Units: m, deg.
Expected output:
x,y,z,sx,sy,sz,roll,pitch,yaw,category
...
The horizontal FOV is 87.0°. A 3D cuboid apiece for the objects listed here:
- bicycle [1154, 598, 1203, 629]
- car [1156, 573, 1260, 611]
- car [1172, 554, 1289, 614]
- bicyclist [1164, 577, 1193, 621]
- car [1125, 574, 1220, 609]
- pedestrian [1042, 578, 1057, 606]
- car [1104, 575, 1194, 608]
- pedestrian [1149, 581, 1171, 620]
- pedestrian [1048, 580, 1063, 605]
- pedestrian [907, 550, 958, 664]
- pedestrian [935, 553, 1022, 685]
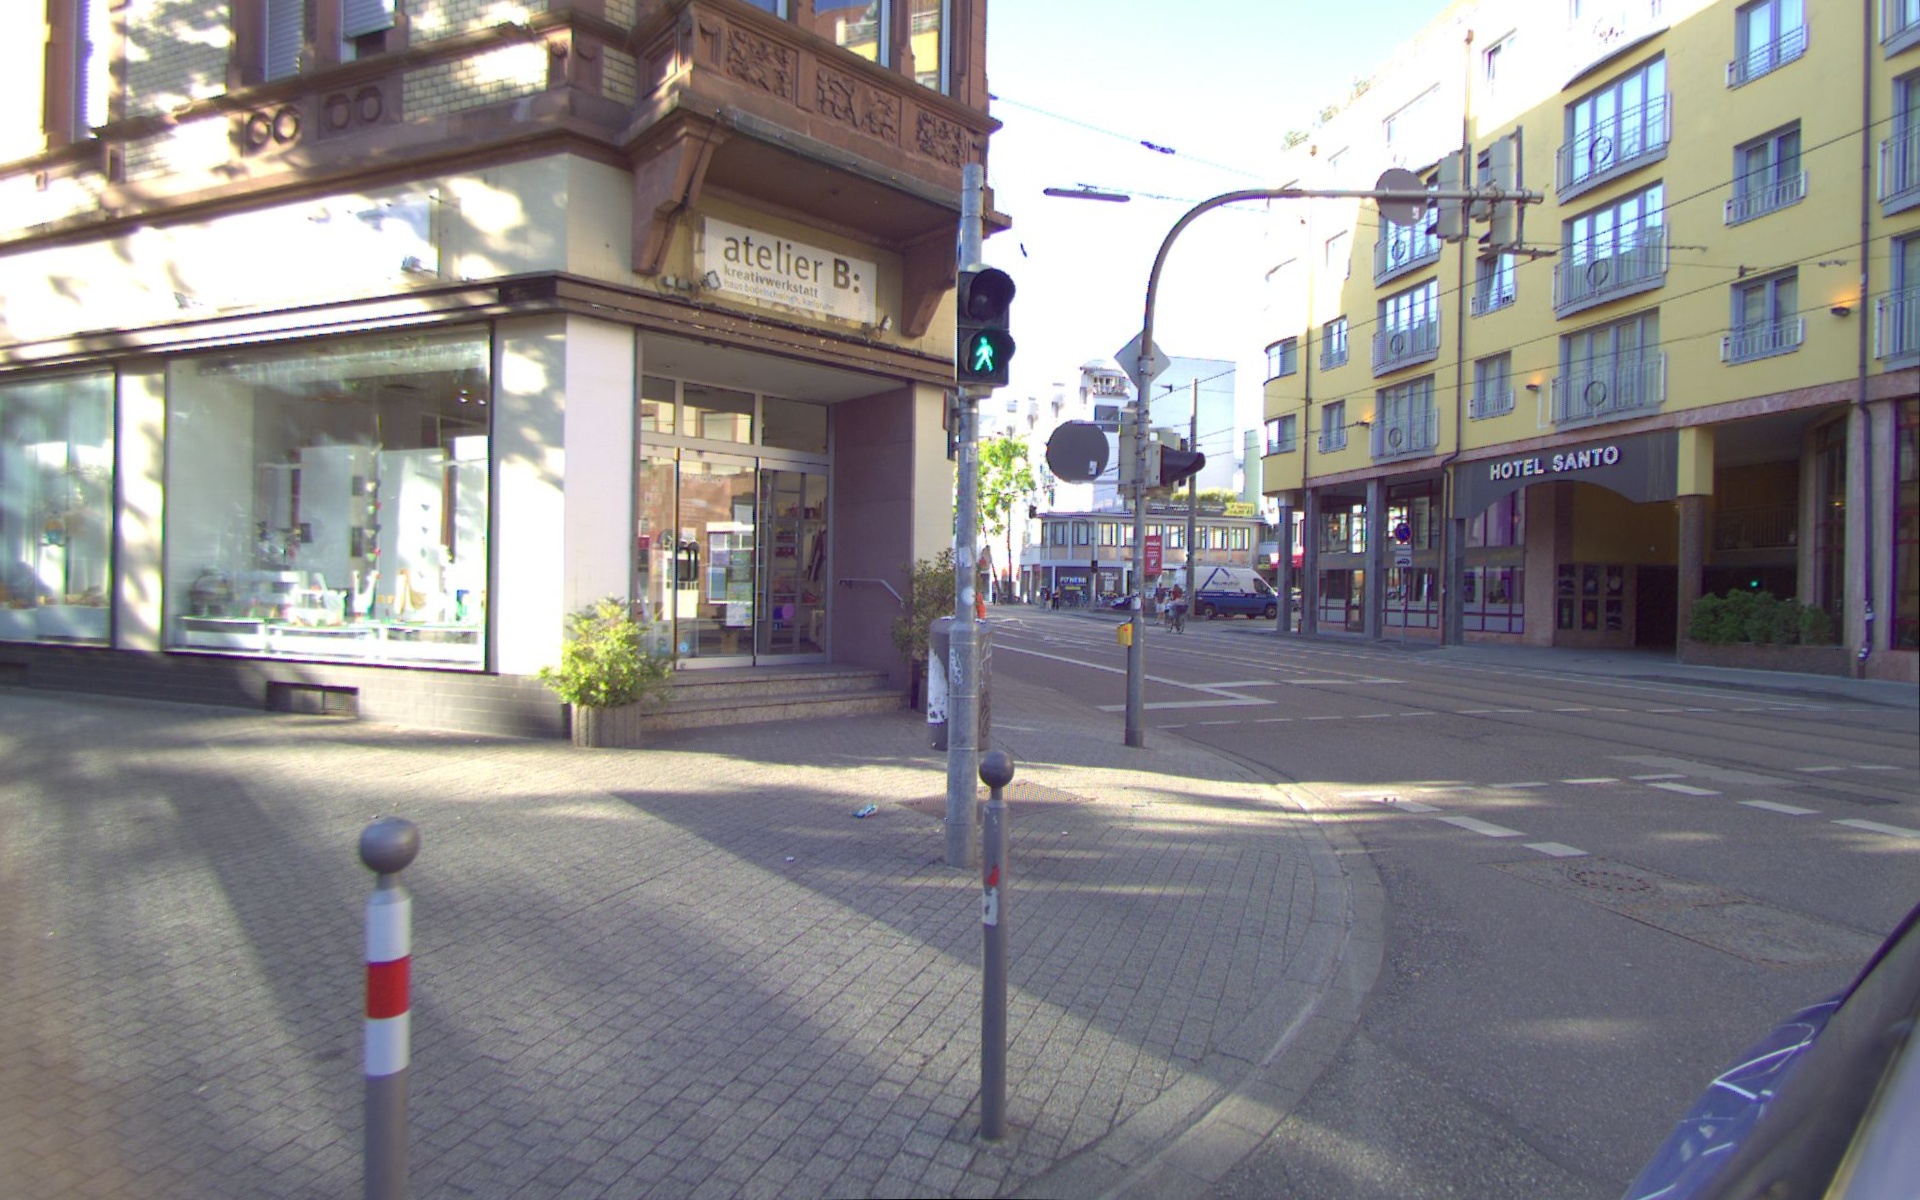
x,y,z,sx,sy,sz,roll,pitch,yaw,category
7.666,0.455,35.538,0.665,1.016,1.967,1,1,-23,bicycle
12.666,-0.414,51.756,4.719,1.860,2.063,1,1,-11,car
13.132,-0.770,49.281,5.041,2.792,2.063,1,1,-11,car
7.664,-0.043,35.547,0.665,1.539,0.757,1,0,-23,bicyclist
11.866,-0.484,56.696,4.719,1.860,2.063,1,1,-11,car
5.735,-0.533,64.914,0.604,1.751,0.901,1,0,-17,pedestrian
11.064,-0.520,59.484,4.719,1.860,2.063,1,1,-11,car
8.969,0.017,45.429,0.710,1.716,0.691,1,0,-15,pedestrian
6.241,-0.483,66.192,0.604,1.626,0.901,1,0,-17,pedestrian
-0.455,0.104,16.318,0.736,1.797,0.602,1,0,-7,pedestrian
0.228,0.241,13.715,0.987,1.701,1.175,1,0,-7,pedestrian
